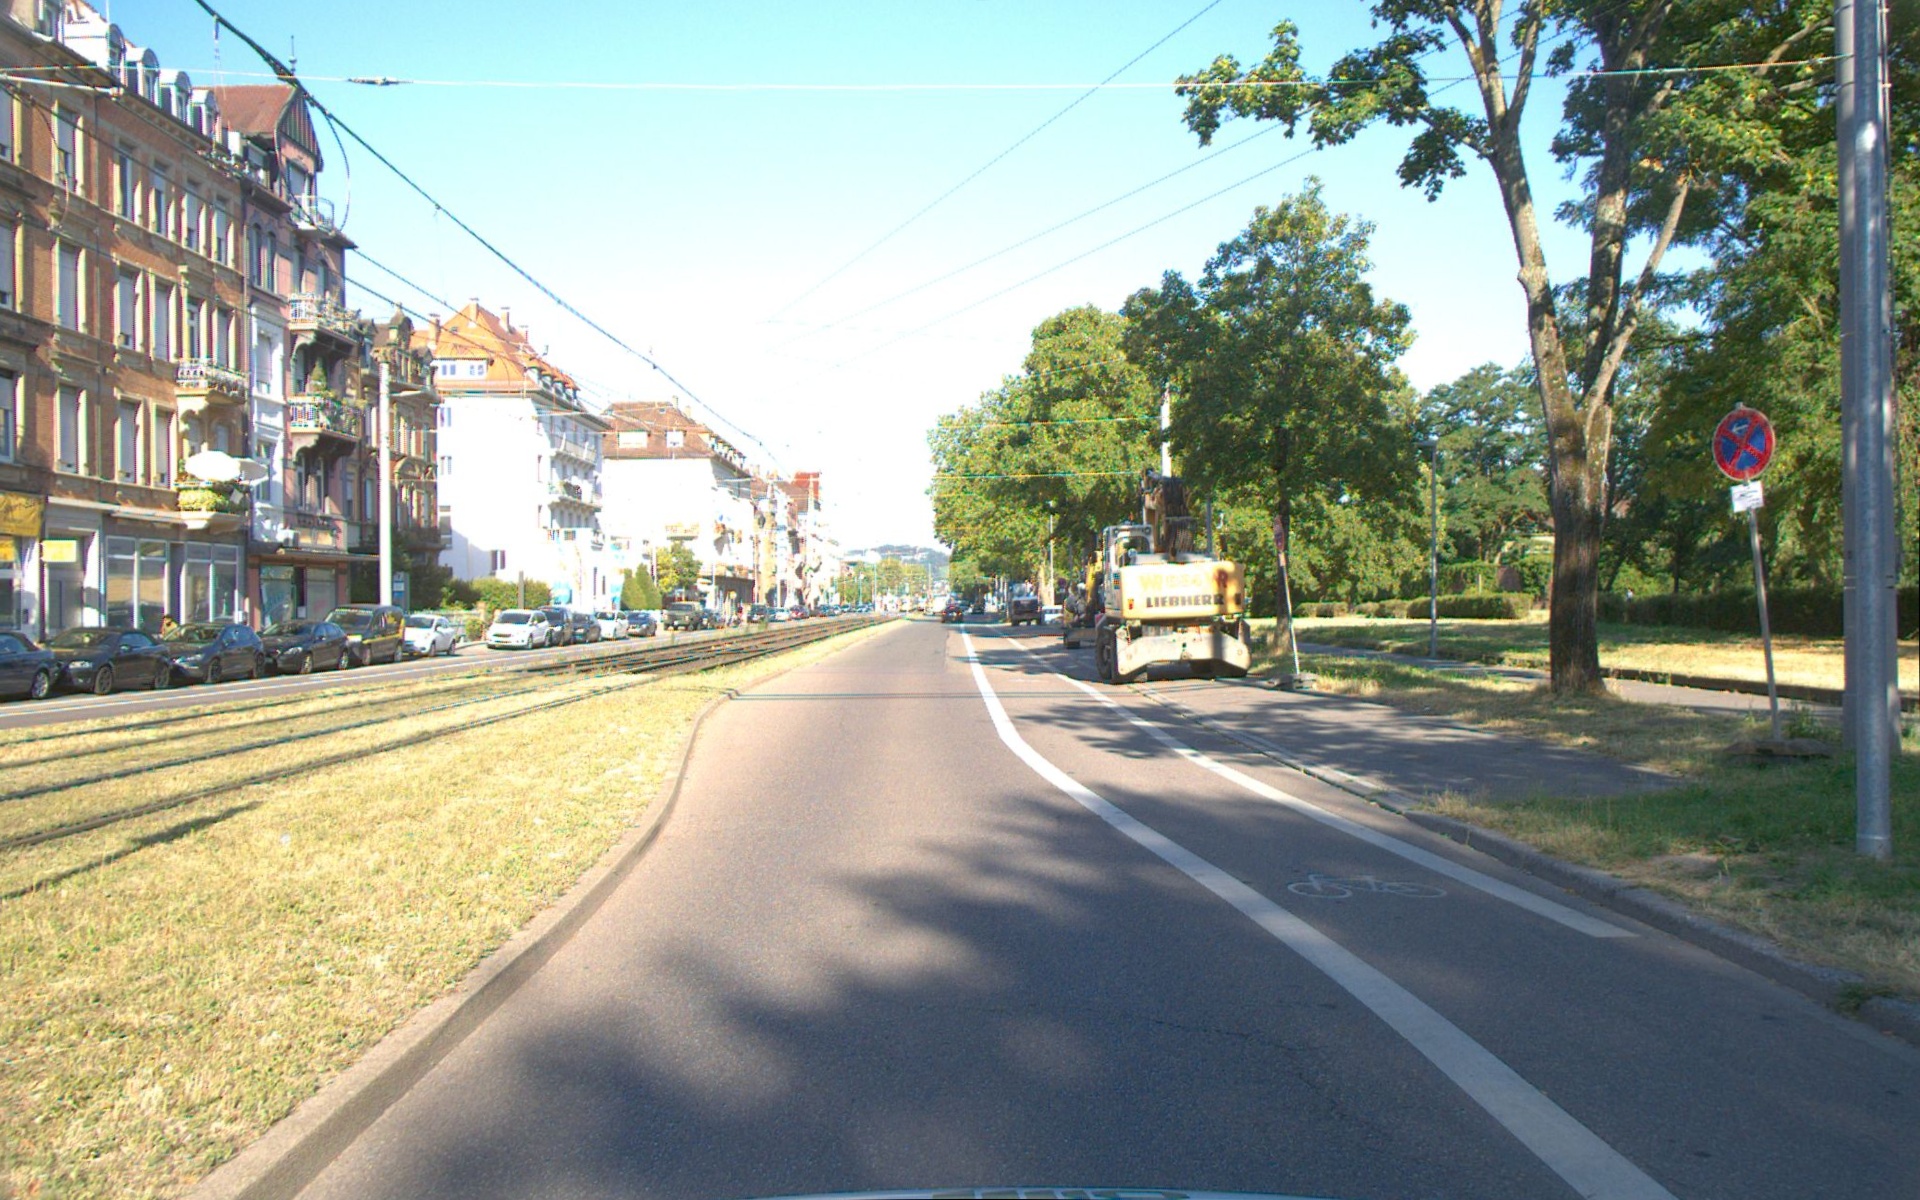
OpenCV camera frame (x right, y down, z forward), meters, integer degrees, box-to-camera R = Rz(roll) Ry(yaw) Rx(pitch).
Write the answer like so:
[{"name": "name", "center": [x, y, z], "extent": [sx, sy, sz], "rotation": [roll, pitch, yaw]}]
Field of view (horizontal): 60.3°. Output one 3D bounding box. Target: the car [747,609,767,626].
[{"name": "car", "center": [-19.753, 1.692, 161.023], "extent": [1.496, 1.588, 3.223], "rotation": [1, 1, -1]}]

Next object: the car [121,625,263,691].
[{"name": "car", "center": [-19.087, 1.401, 41.296], "extent": [1.740, 1.431, 3.908], "rotation": [1, 1, -1]}]

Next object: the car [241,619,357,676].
[{"name": "car", "center": [-18.761, 1.324, 47.111], "extent": [1.740, 1.431, 3.978], "rotation": [1, 1, -1]}]

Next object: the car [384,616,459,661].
[{"name": "car", "center": [-19.373, 1.366, 59.606], "extent": [1.530, 1.483, 3.664], "rotation": [1, 1, -1]}]

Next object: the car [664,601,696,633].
[{"name": "car", "center": [-19.865, 1.196, 117.470], "extent": [1.624, 2.177, 3.525], "rotation": [1, 1, -1]}]

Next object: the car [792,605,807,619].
[{"name": "car", "center": [-19.767, 1.510, 204.056], "extent": [1.496, 1.638, 3.223], "rotation": [1, 1, -1]}]

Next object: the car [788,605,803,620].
[{"name": "car", "center": [-19.852, 1.486, 199.221], "extent": [1.496, 1.638, 3.223], "rotation": [1, 1, -1]}]

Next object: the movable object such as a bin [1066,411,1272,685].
[{"name": "movable object such as a bin", "center": [4.370, -0.996, 36.754], "extent": [3.025, 5.177, 8.890], "rotation": [-3, 0, -1]}]

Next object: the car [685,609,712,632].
[{"name": "car", "center": [-19.476, 1.533, 123.346], "extent": [1.496, 1.588, 3.223], "rotation": [1, 1, -1]}]

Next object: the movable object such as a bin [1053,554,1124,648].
[{"name": "movable object such as a bin", "center": [4.520, 0.048, 58.796], "extent": [1.928, 3.065, 4.795], "rotation": [-3, 0, -1]}]

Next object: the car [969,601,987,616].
[{"name": "car", "center": [2.444, 1.144, 223.916], "extent": [1.955, 1.892, 3.994], "rotation": [1, 0, -7]}]

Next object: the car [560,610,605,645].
[{"name": "car", "center": [-18.868, 1.358, 82.759], "extent": [1.496, 1.588, 3.223], "rotation": [1, 1, -1]}]

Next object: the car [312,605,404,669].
[{"name": "car", "center": [-19.142, 1.137, 52.729], "extent": [1.530, 1.886, 3.899], "rotation": [1, 1, -1]}]

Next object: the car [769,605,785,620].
[{"name": "car", "center": [-20.696, 1.412, 186.804], "extent": [1.496, 1.638, 3.223], "rotation": [1, 1, -1]}]

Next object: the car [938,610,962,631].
[{"name": "car", "center": [-0.844, 1.738, 140.627], "extent": [1.953, 1.713, 3.999], "rotation": [1, 0, 0]}]

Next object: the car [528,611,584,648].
[{"name": "car", "center": [-18.832, 1.368, 77.216], "extent": [1.706, 1.588, 3.767], "rotation": [1, 1, -1]}]

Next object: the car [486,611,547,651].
[{"name": "car", "center": [-19.391, 1.334, 72.451], "extent": [1.706, 1.588, 3.767], "rotation": [1, 1, -1]}]

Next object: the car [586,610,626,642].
[{"name": "car", "center": [-19.087, 1.392, 89.292], "extent": [1.496, 1.588, 3.223], "rotation": [1, 1, -1]}]

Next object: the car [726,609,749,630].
[{"name": "car", "center": [-18.589, 1.622, 138.247], "extent": [1.496, 1.588, 3.223], "rotation": [1, 1, -1]}]

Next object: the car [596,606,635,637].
[{"name": "car", "center": [-19.400, 1.202, 93.239], "extent": [1.496, 1.588, 3.223], "rotation": [1, 1, -1]}]

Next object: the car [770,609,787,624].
[{"name": "car", "center": [-19.501, 1.758, 177.956], "extent": [1.496, 1.588, 3.223], "rotation": [1, 1, -1]}]

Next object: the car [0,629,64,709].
[{"name": "car", "center": [-19.194, 1.336, 31.882], "extent": [1.740, 1.431, 3.908], "rotation": [1, 1, -1]}]

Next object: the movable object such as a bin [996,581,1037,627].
[{"name": "movable object such as a bin", "center": [3.885, 0.291, 114.160], "extent": [2.417, 2.956, 3.999], "rotation": [-4, 0, -1]}]

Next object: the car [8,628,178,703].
[{"name": "car", "center": [-19.175, 1.417, 36.775], "extent": [1.740, 1.431, 3.908], "rotation": [1, 1, -1]}]

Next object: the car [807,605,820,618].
[{"name": "car", "center": [-20.411, 1.617, 230.251], "extent": [1.496, 1.638, 3.223], "rotation": [1, 1, -1]}]

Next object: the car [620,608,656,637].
[{"name": "car", "center": [-19.101, 1.309, 98.192], "extent": [1.496, 1.588, 3.223], "rotation": [1, 1, -1]}]
